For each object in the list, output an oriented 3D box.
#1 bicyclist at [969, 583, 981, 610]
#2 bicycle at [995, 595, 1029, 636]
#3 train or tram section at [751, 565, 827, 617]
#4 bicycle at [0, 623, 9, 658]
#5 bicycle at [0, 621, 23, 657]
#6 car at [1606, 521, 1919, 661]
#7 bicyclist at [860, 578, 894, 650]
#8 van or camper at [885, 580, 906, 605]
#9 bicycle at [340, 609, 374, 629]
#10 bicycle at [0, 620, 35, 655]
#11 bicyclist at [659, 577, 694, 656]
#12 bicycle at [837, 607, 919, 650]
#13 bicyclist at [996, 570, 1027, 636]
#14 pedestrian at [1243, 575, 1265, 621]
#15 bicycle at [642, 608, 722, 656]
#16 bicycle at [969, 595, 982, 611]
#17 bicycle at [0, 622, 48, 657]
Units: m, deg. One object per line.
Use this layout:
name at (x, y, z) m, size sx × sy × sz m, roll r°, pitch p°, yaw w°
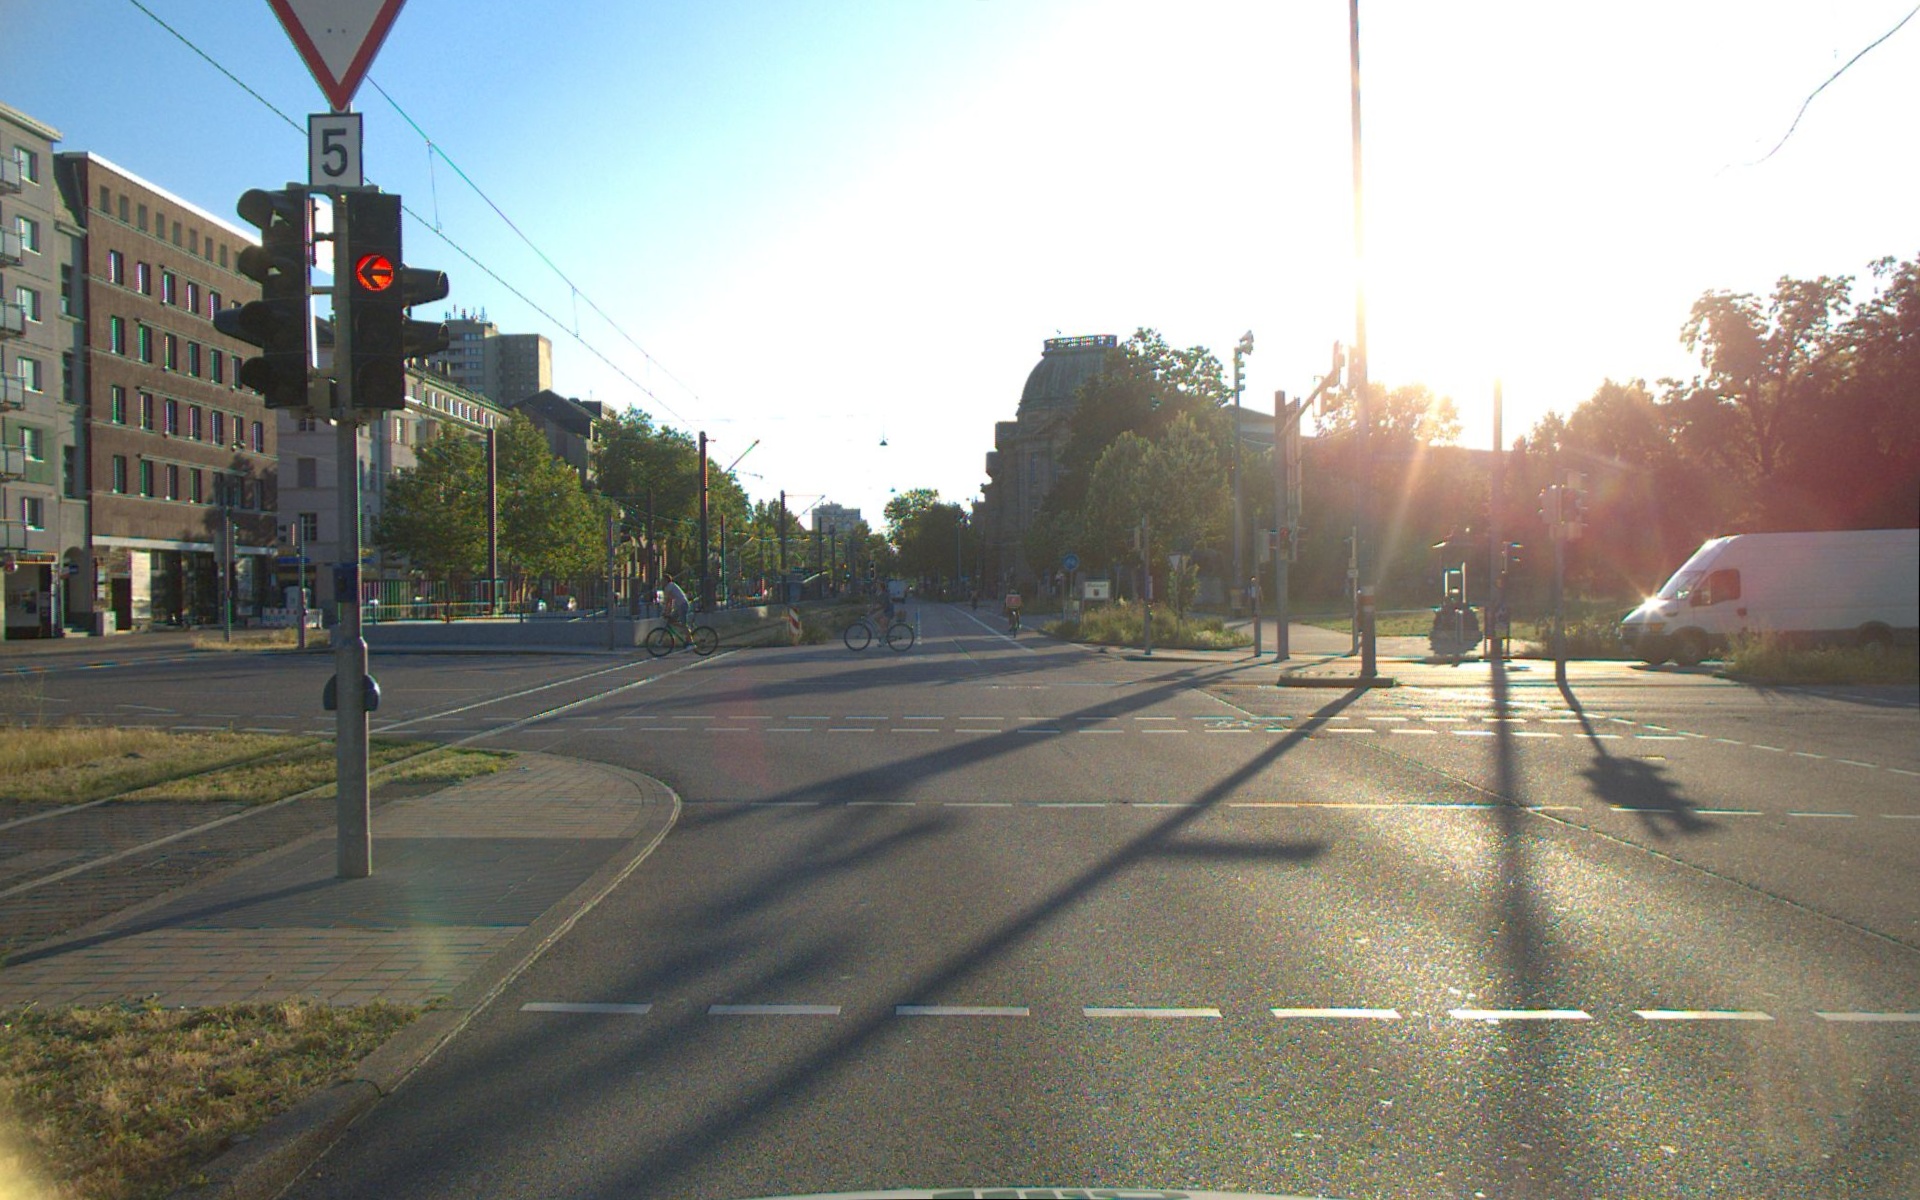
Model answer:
bicyclist at (1.136, -0.243, 124.853) m, size 0.907 × 2.049 × 0.850 m, roll 0°, pitch 0°, yaw -1°
bicycle at (1.836, 0.543, 58.949) m, size 1.075 × 1.423 × 2.831 m, roll -1°, pitch 0°, yaw -1°
train or tram section at (-13.988, -0.828, 136.744) m, size 4.294 × 3.916 × 11.418 m, roll -1°, pitch 2°, yaw 4°
bicycle at (-32.934, 1.360, 55.478) m, size 1.655 × 1.173 × 0.705 m, roll -1°, pitch 0°, yaw 1°
bicycle at (-32.916, 1.339, 56.232) m, size 1.655 × 1.199 × 0.748 m, roll -1°, pitch 0°, yaw 1°
car at (17.824, -0.207, 35.790) m, size 6.866 × 2.877 × 2.093 m, roll -1°, pitch 0°, yaw 1°
bicyclist at (-2.133, 0.350, 42.742) m, size 0.858 × 1.850 × 0.537 m, roll 0°, pitch 0°, yaw -3°
van or camper at (-7.468, -0.838, 192.278) m, size 2.400 × 2.819 × 5.598 m, roll -1°, pitch 0°, yaw -3°
bicycle at (-29.123, 0.917, 79.914) m, size 0.497 × 0.961 × 1.667 m, roll -1°, pitch 0°, yaw 24°
bicycle at (-32.912, 1.294, 57.009) m, size 1.655 × 1.190 × 0.748 m, roll -1°, pitch 0°, yaw 1°
bicyclist at (-6.745, 0.395, 39.414) m, size 0.778 × 1.850 × 0.645 m, roll -1°, pitch 0°, yaw -9°
bicycle at (-2.120, 0.722, 42.737) m, size 2.121 × 1.102 × 0.538 m, roll 0°, pitch -1°, yaw -4°
bicyclist at (1.839, 0.108, 58.893) m, size 1.060 × 2.316 × 0.986 m, roll 0°, pitch 0°, yaw -1°
pedestrian at (11.950, -0.082, 67.247) m, size 0.815 × 1.835 × 0.811 m, roll -1°, pitch 0°, yaw 14°
bicycle at (-6.620, 0.764, 39.443) m, size 1.866 × 1.094 × 0.631 m, roll -1°, pitch 0°, yaw -10°
bicycle at (1.145, 0.228, 124.862) m, size 0.905 × 1.131 × 2.332 m, roll -1°, pitch 0°, yaw -1°
bicycle at (-32.860, 1.377, 57.740) m, size 1.655 × 1.164 × 0.697 m, roll -1°, pitch 0°, yaw 1°
